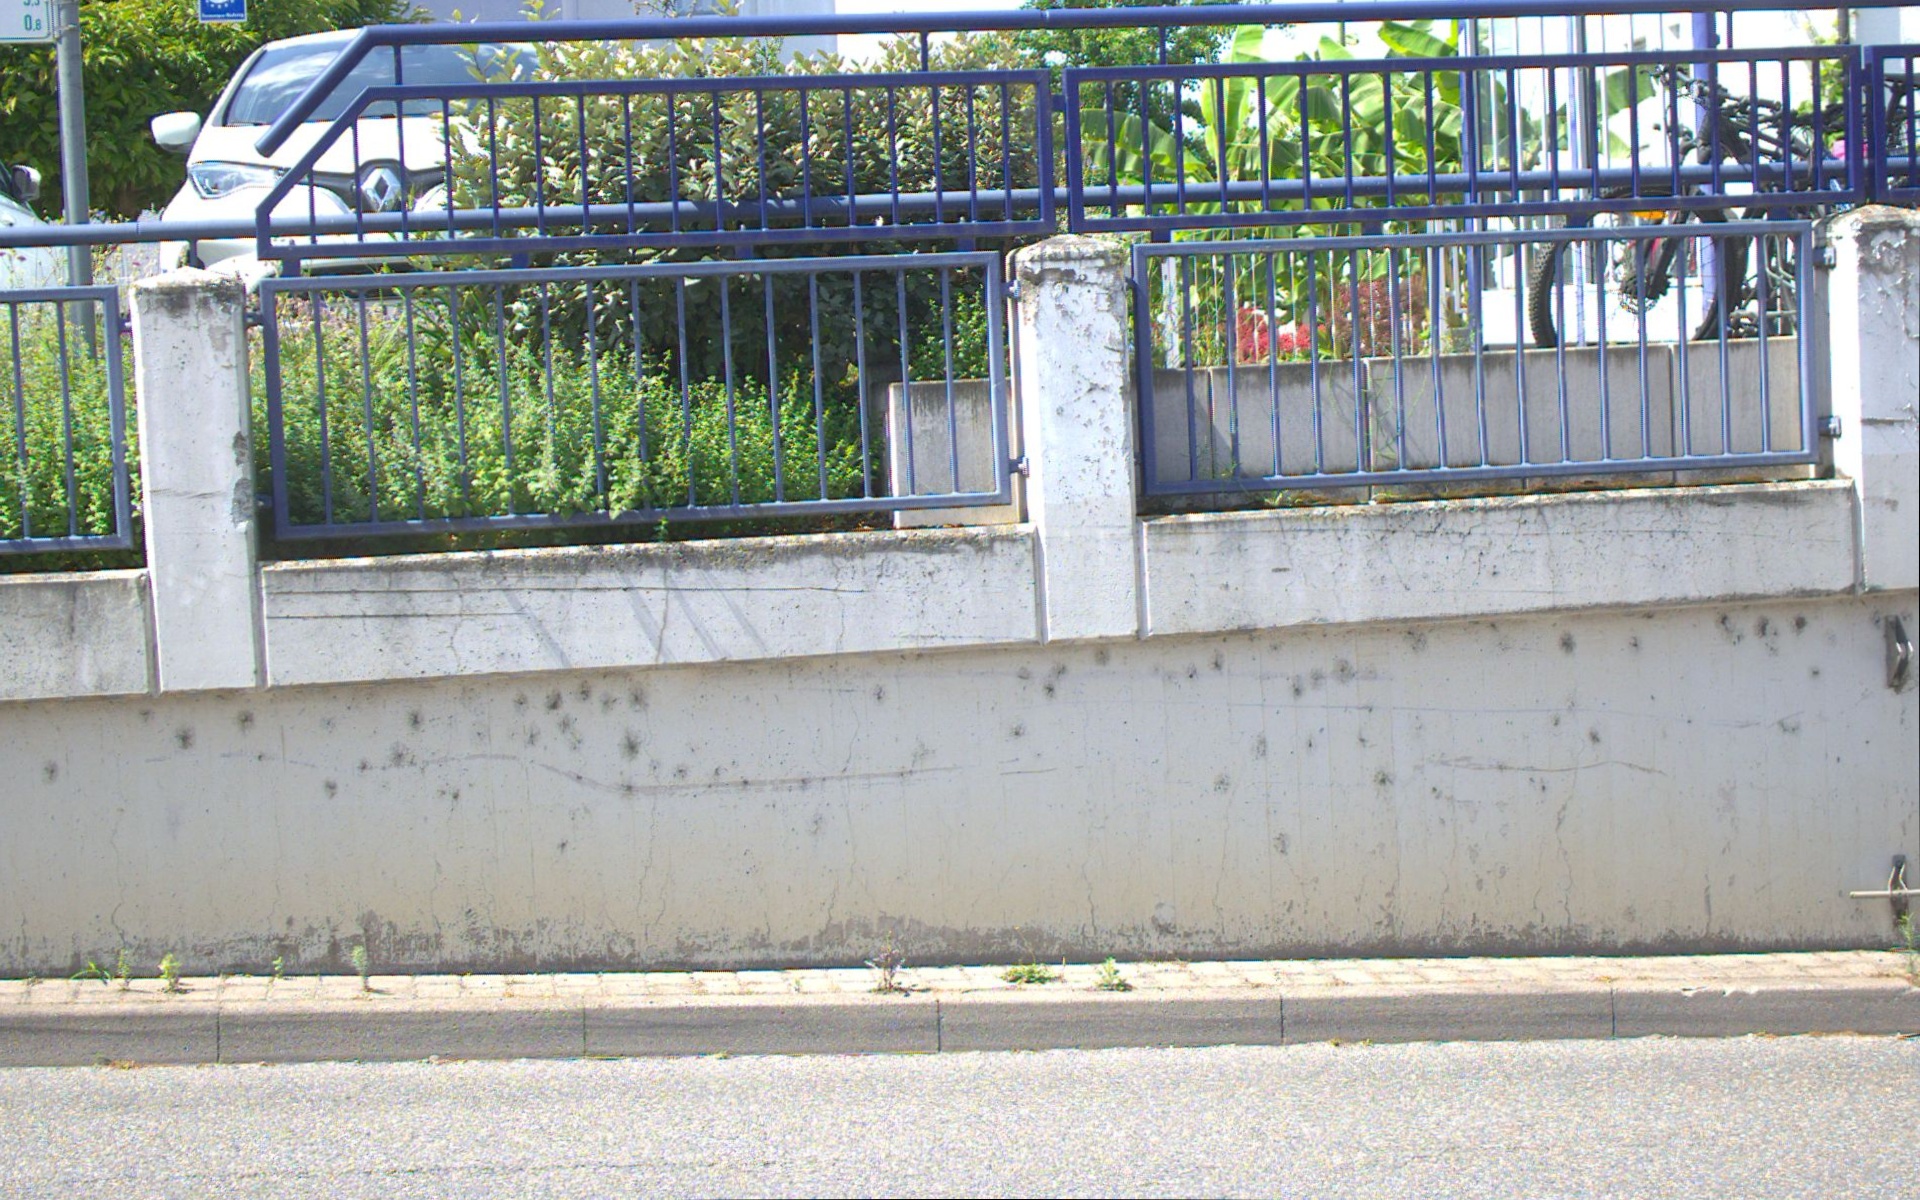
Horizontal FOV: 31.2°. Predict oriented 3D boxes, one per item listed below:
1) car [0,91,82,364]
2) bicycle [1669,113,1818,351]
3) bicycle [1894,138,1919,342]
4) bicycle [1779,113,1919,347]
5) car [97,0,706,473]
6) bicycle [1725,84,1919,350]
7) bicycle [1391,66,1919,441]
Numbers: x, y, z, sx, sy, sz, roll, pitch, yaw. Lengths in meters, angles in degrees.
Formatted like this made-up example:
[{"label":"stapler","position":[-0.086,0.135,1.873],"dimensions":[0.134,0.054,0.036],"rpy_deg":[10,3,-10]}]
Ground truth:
[{"label":"car","position":[-4.709,-1.518,13.524],"dimensions":[1.824,1.016,3.460],"rpy_deg":[1,2,-4]},{"label":"bicycle","position":[3.523,-1.631,15.545],"dimensions":[0.455,0.991,1.888],"rpy_deg":[-1,4,7]},{"label":"bicycle","position":[4.886,-1.727,16.273],"dimensions":[0.372,0.991,1.966],"rpy_deg":[-2,4,0]},{"label":"bicycle","position":[4.190,-1.669,15.777],"dimensions":[0.372,0.991,1.966],"rpy_deg":[-2,4,0]},{"label":"car","position":[-2.039,-1.430,13.722],"dimensions":[1.993,1.791,4.198],"rpy_deg":[1,2,-4]},{"label":"bicycle","position":[3.667,-1.520,13.903],"dimensions":[0.332,0.991,2.077],"rpy_deg":[-2,4,-10]},{"label":"bicycle","position":[2.449,-1.107,10.925],"dimensions":[2.114,1.122,0.333],"rpy_deg":[-2,4,-10]}]
